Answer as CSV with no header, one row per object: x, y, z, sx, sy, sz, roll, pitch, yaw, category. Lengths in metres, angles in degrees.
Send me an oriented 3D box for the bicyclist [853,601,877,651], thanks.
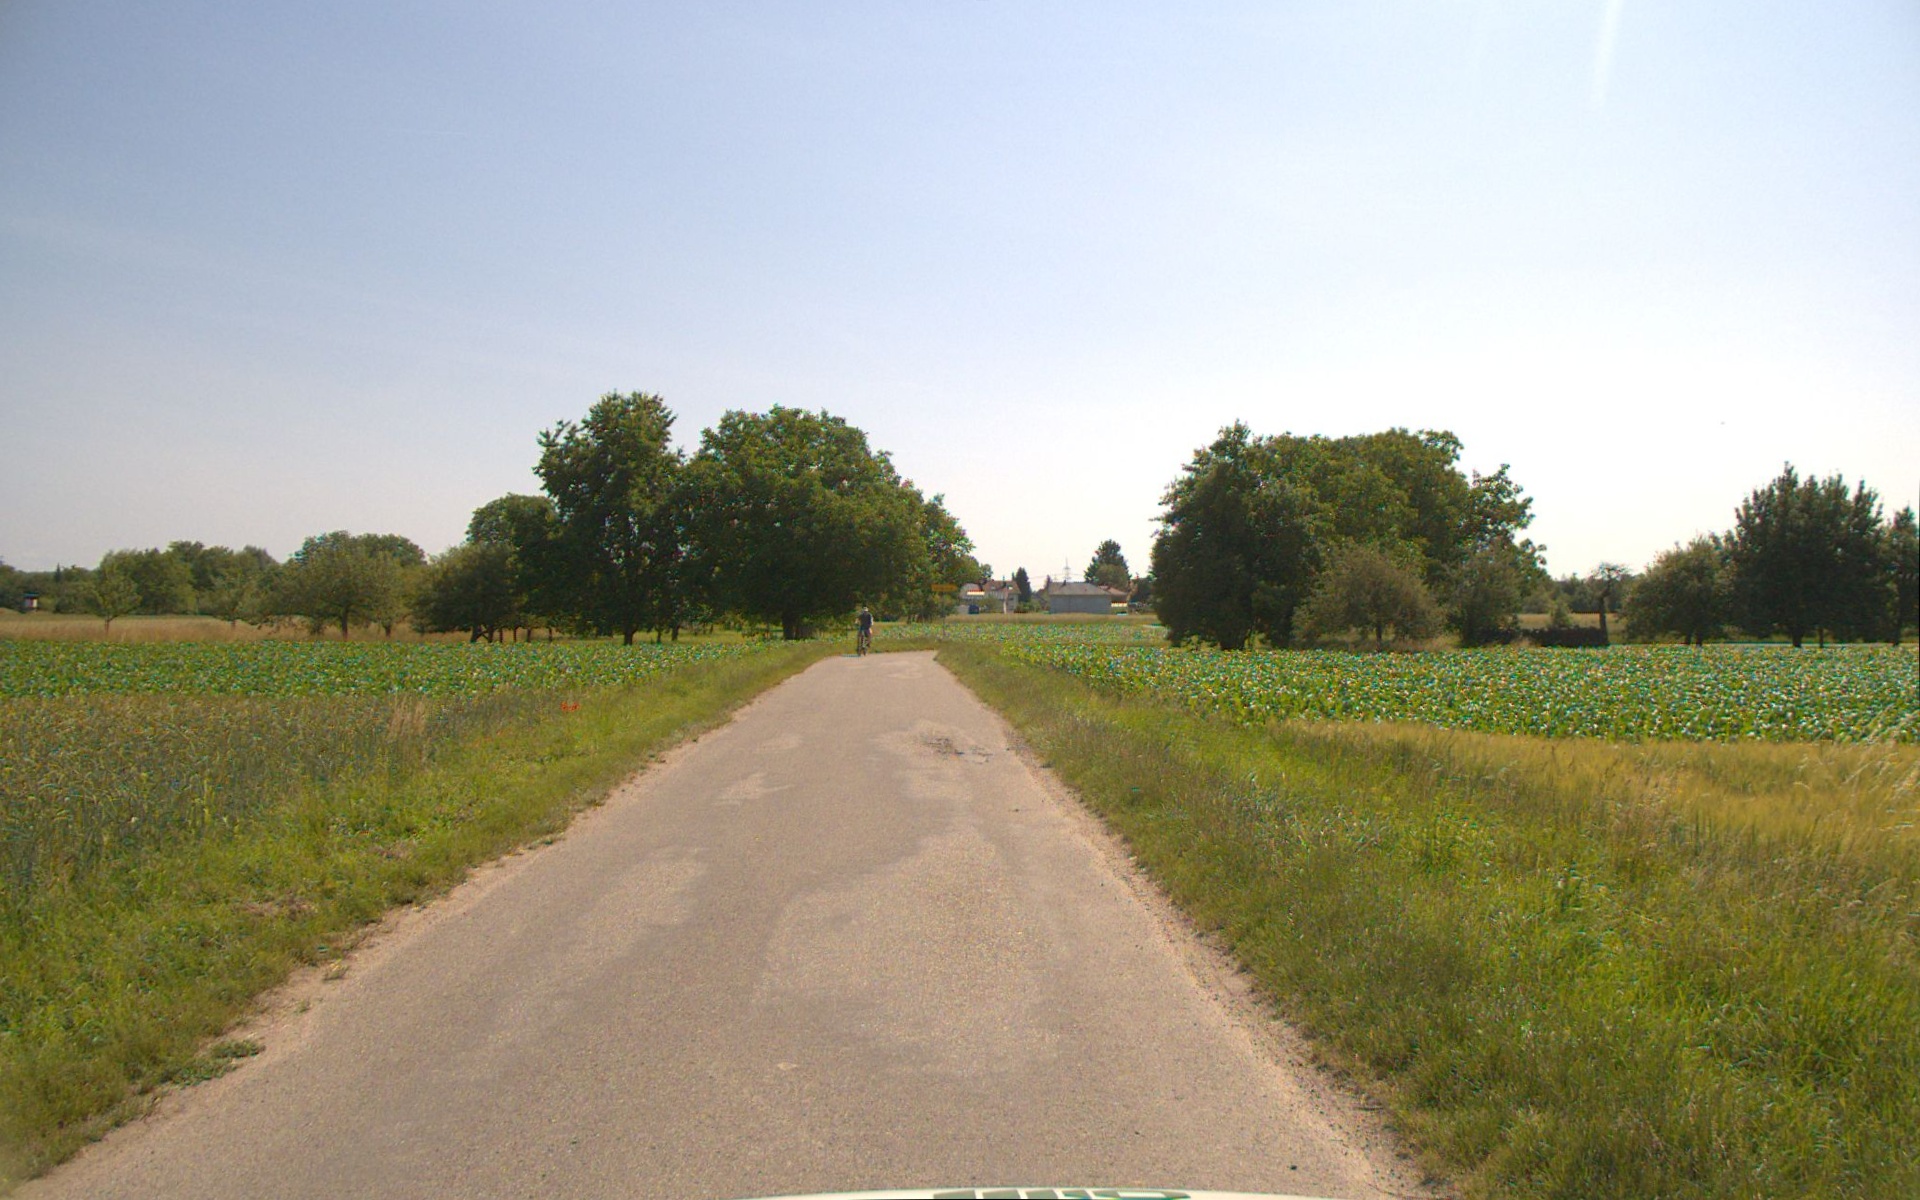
-3.549,0.972,61.818,0.735,1.823,0.717,-2,-1,4,bicyclist

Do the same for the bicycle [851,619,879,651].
-3.544,1.300,61.810,0.735,1.147,1.909,-2,-1,4,bicycle
